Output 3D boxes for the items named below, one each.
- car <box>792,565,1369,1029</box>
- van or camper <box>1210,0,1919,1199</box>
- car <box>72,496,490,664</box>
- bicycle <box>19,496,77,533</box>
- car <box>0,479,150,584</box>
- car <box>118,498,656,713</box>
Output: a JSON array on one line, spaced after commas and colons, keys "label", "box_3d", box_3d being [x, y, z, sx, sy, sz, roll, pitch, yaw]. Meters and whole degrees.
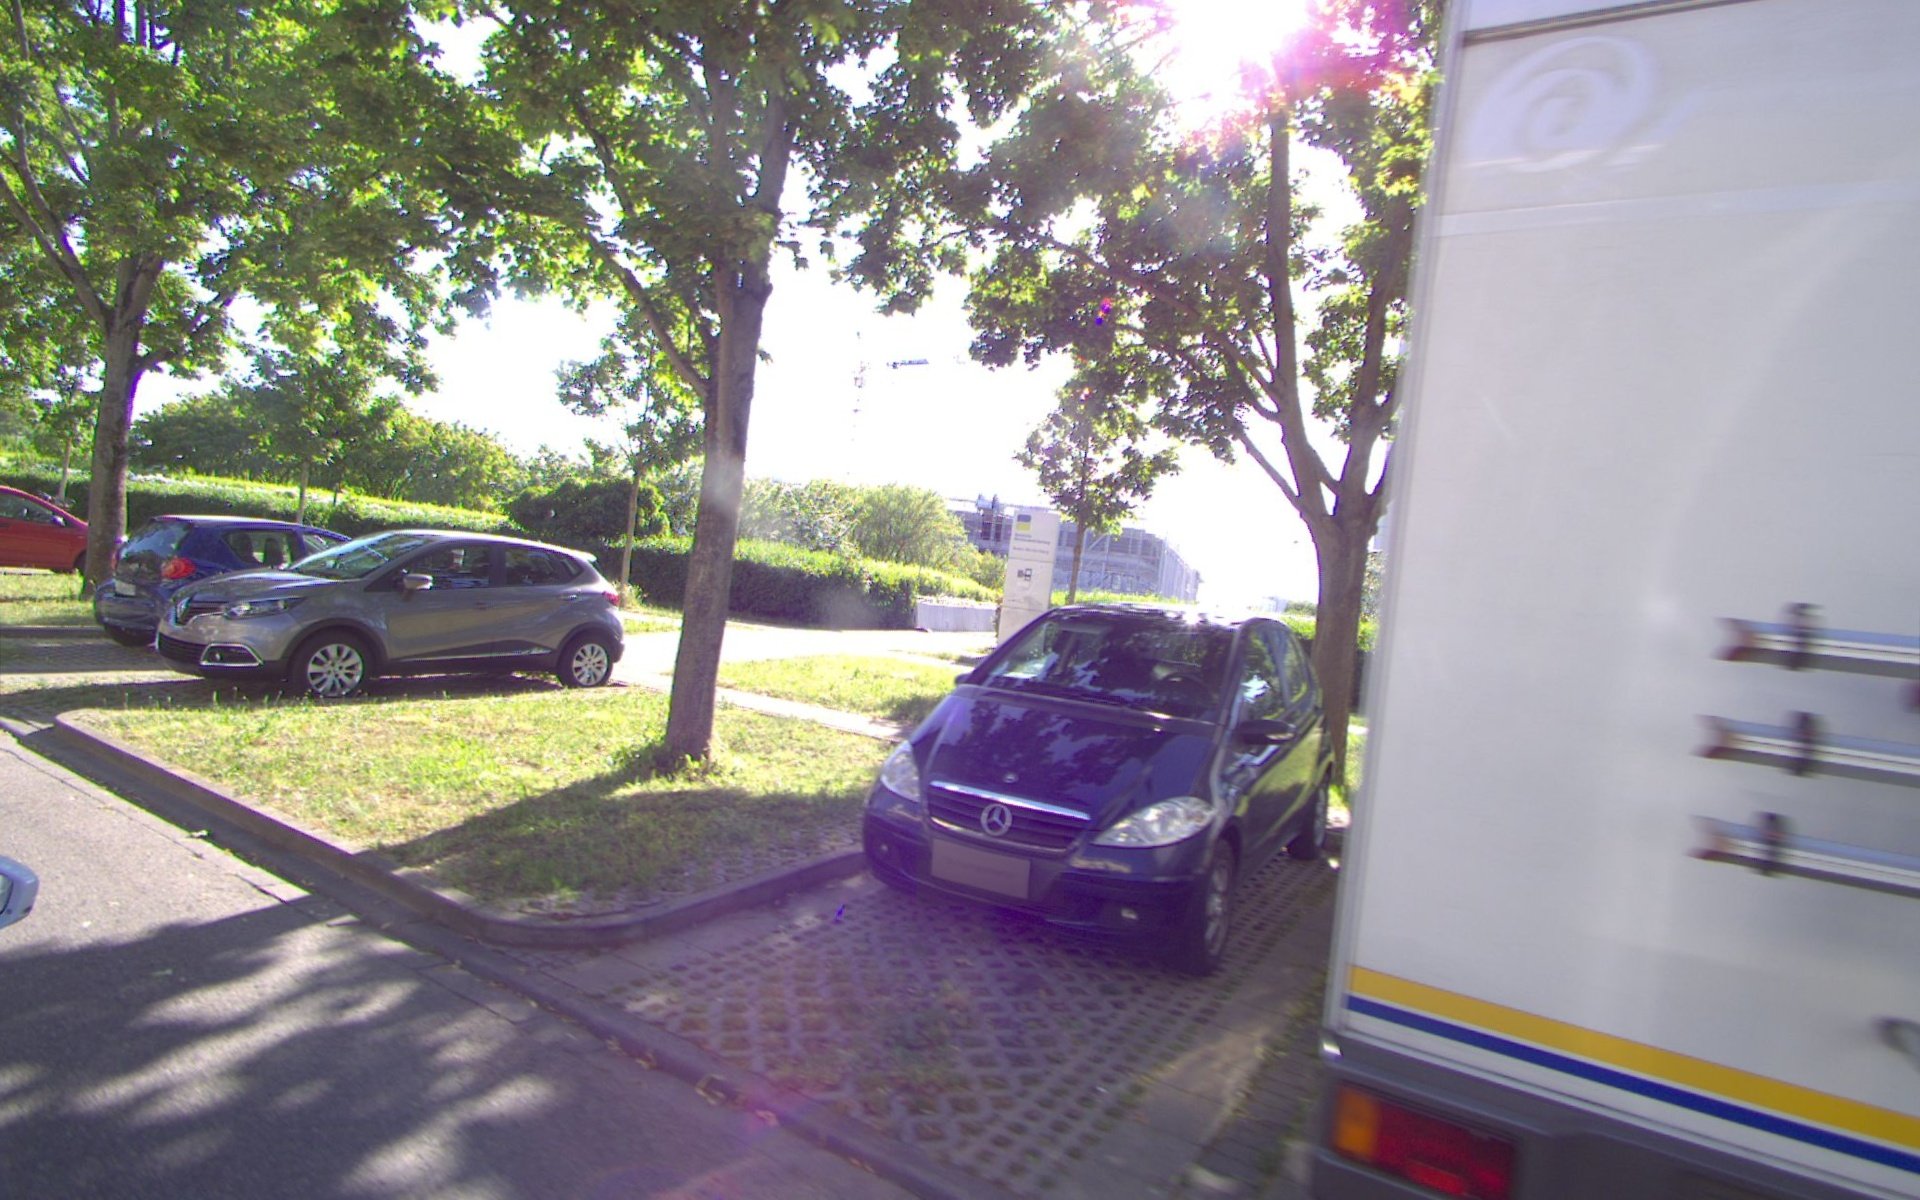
[{"label": "car", "box_3d": [1.092, 0.772, 5.963, 1.827, 1.566, 4.152, 7, 2, 29]}, {"label": "van or camper", "box_3d": [3.135, 0.294, 3.624, 2.625, 3.023, 5.986, 7, 2, 30]}, {"label": "car", "box_3d": [-7.569, -0.187, 11.538, 1.827, 1.499, 3.465, 7, 2, 28]}, {"label": "bicycle", "box_3d": [-25.770, -2.416, 28.435, 1.382, 0.877, 0.347, 7, 2, 7]}, {"label": "car", "box_3d": [-15.515, -1.173, 16.243, 1.600, 1.565, 3.434, 7, 2, 32]}, {"label": "car", "box_3d": [-5.335, 0.064, 9.948, 1.828, 1.566, 4.194, 7, 2, 32]}]
